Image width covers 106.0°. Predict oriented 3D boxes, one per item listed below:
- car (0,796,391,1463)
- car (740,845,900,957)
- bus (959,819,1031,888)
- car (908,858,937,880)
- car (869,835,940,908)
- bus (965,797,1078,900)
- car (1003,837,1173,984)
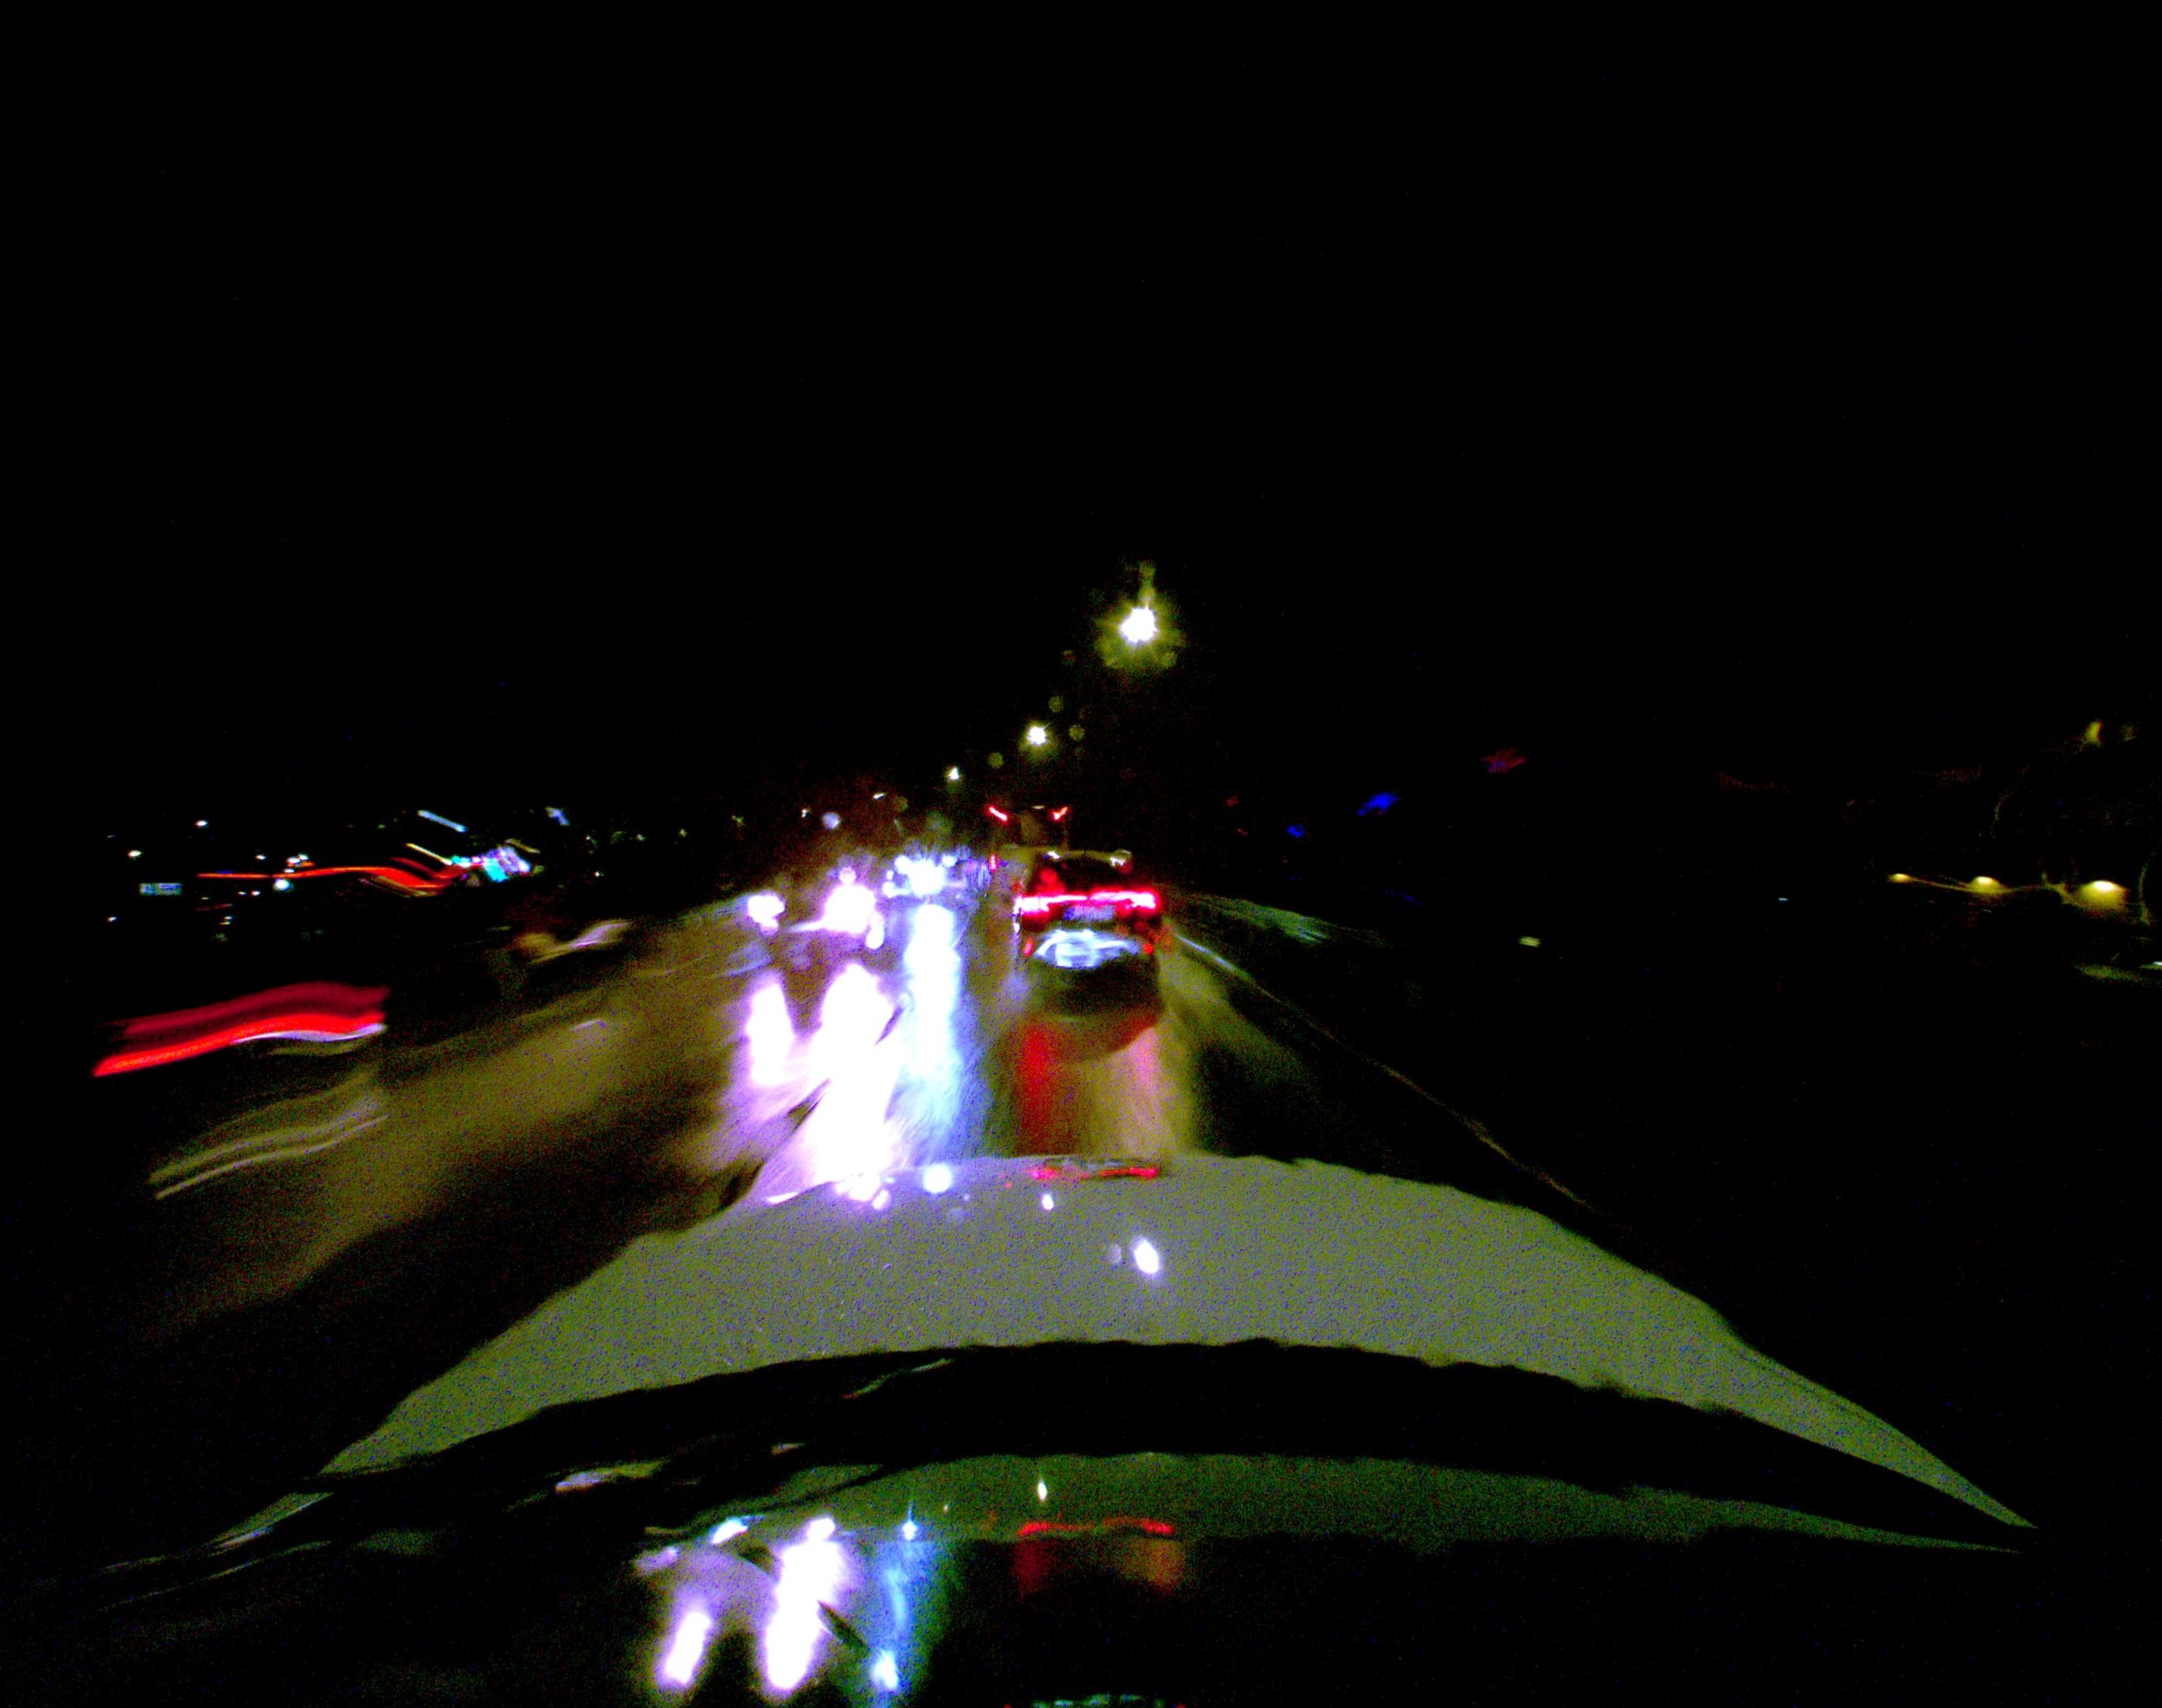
[{"bbox_3d":[-3.673,0.735,1.081,1.773,1.704,4.313,-2,0,0],"label":"car"},{"bbox_3d":[-4.384,0.681,14.311,1.790,1.630,3.986,-1,1,-5],"label":"car"},{"bbox_3d":[-4.603,-0.130,42.083,3.049,3.131,8.050,-2,1,-10],"label":"bus"},{"bbox_3d":[-13.229,1.301,67.823,1.643,1.656,3.681,-3,-1,-23],"label":"car"},{"bbox_3d":[-5.860,0.538,27.539,2.044,2.170,5.137,-2,0,-10],"label":"car"},{"bbox_3d":[-2.739,-0.183,31.888,3.084,3.132,12.653,-2,0,-10],"label":"bus"},{"bbox_3d":[-0.002,0.625,11.014,1.851,1.586,3.996,-1,0,-3],"label":"car"}]
